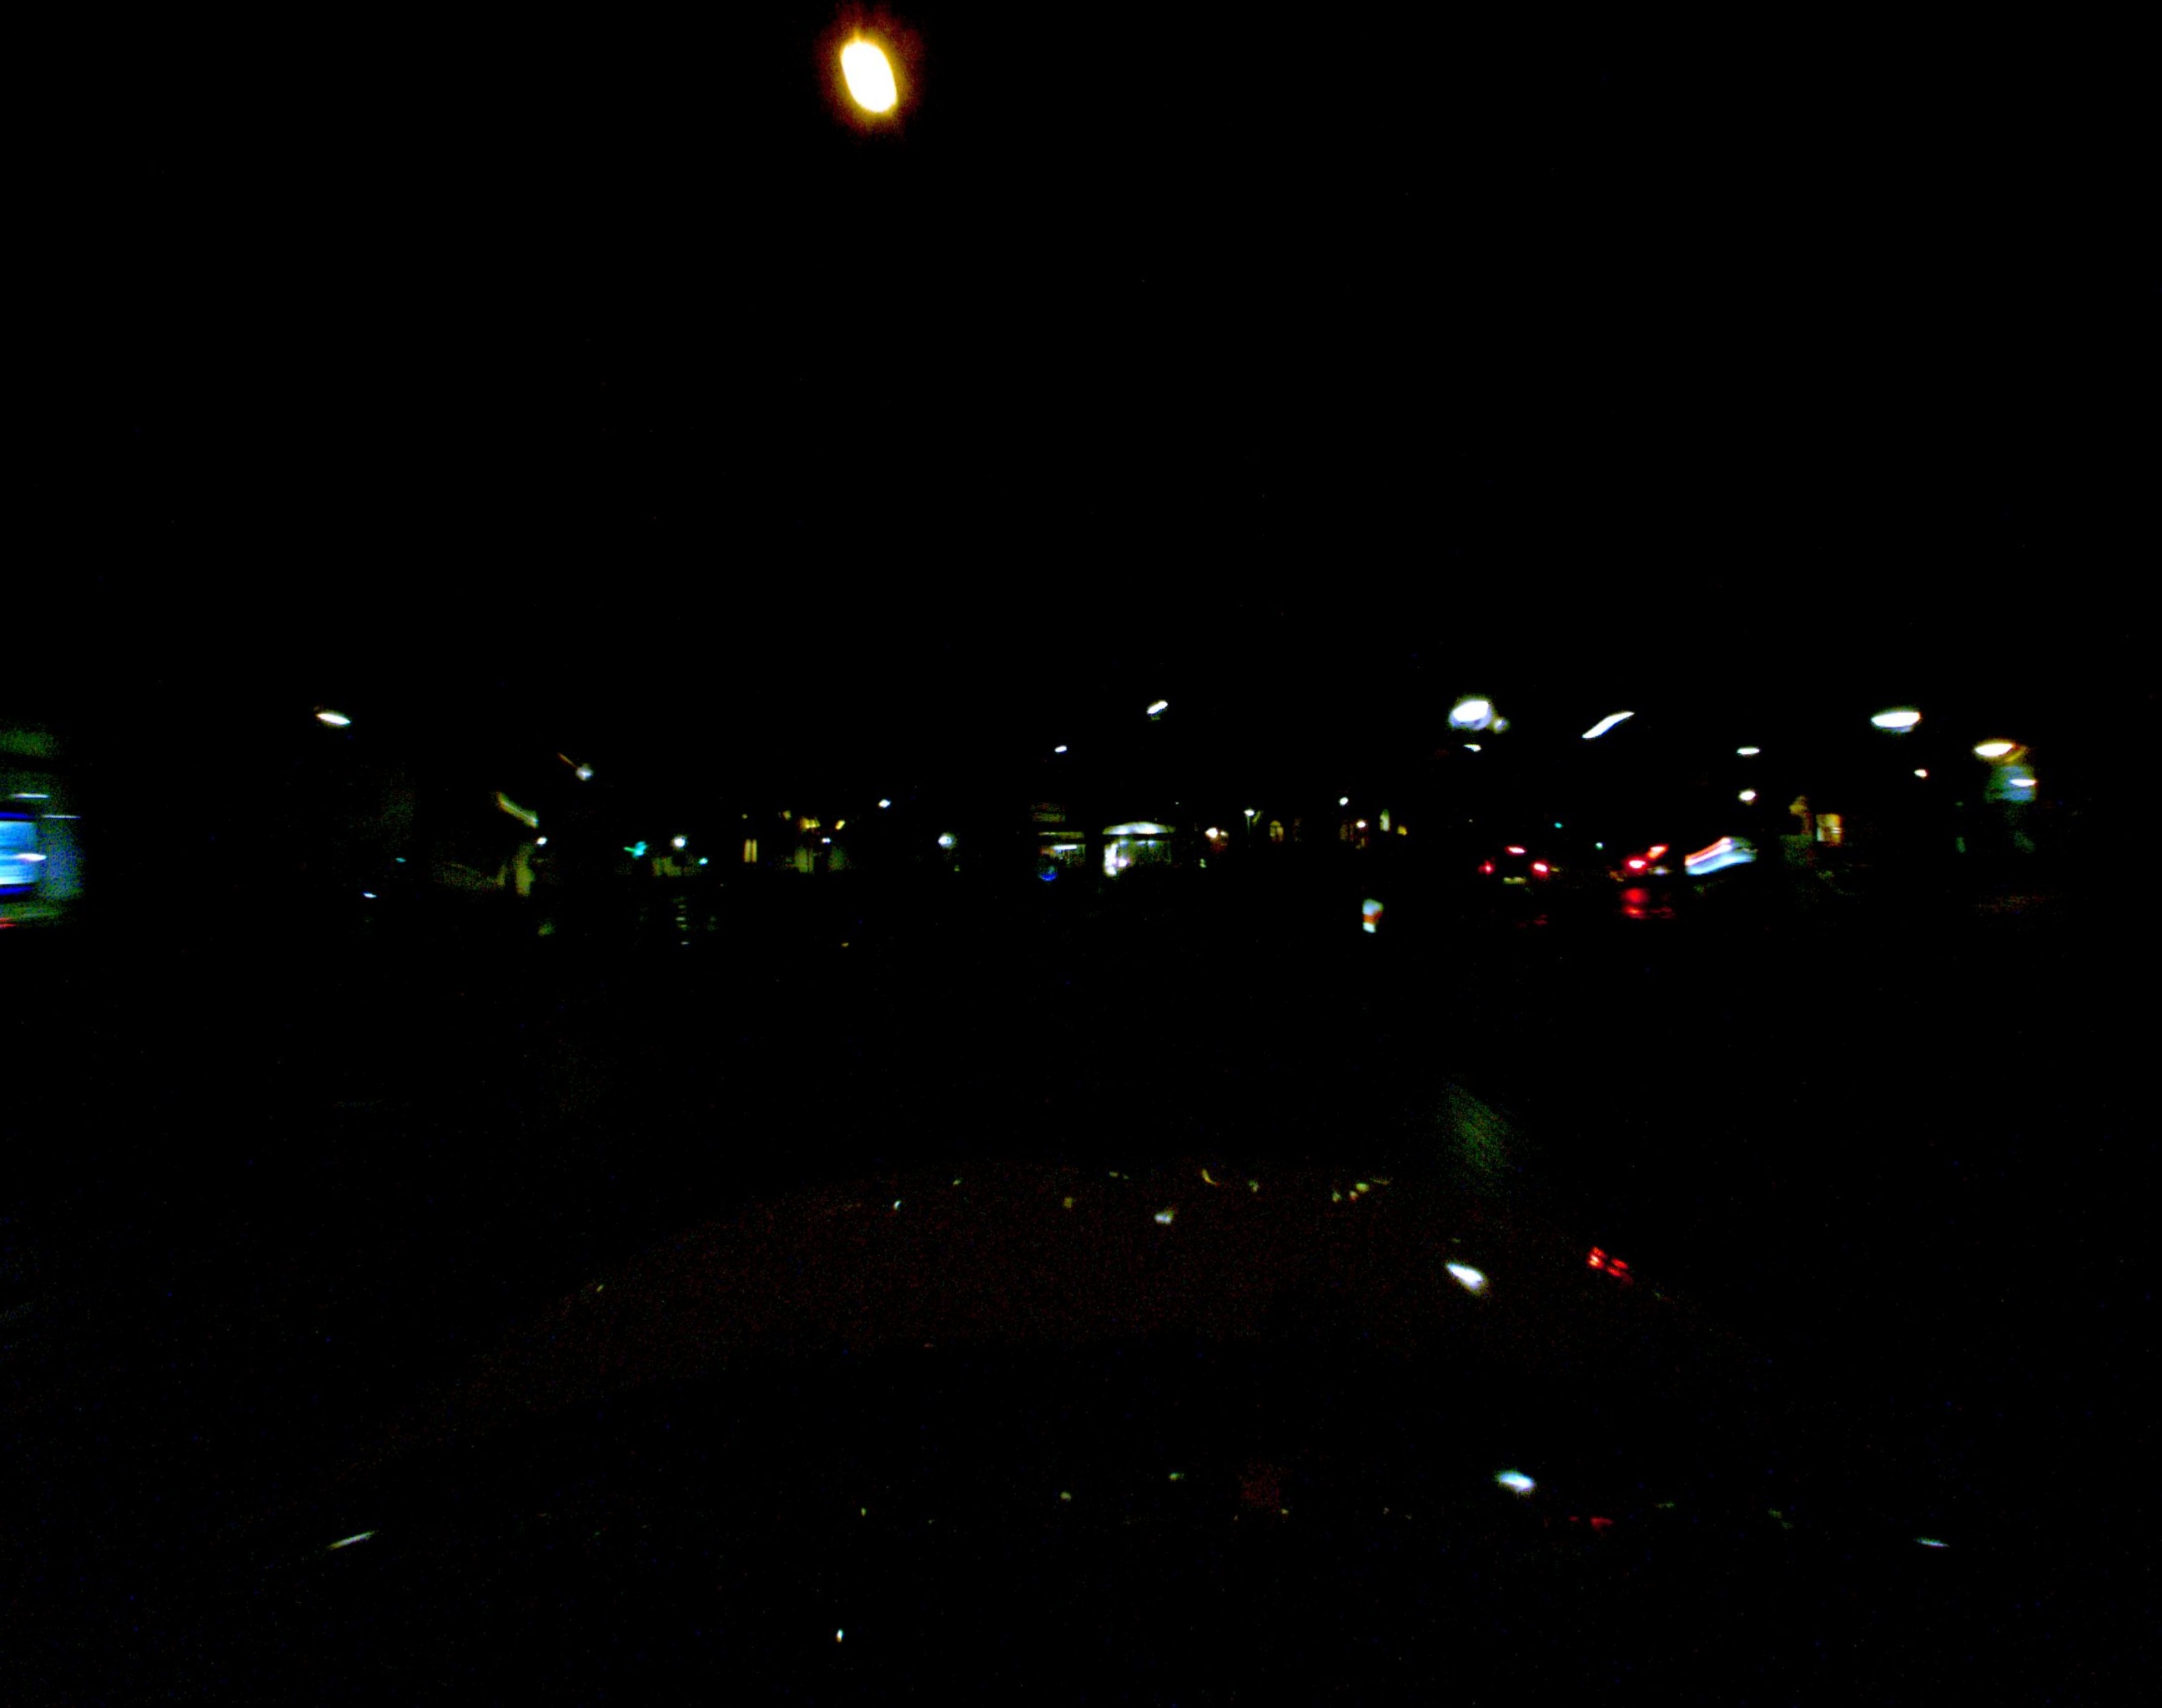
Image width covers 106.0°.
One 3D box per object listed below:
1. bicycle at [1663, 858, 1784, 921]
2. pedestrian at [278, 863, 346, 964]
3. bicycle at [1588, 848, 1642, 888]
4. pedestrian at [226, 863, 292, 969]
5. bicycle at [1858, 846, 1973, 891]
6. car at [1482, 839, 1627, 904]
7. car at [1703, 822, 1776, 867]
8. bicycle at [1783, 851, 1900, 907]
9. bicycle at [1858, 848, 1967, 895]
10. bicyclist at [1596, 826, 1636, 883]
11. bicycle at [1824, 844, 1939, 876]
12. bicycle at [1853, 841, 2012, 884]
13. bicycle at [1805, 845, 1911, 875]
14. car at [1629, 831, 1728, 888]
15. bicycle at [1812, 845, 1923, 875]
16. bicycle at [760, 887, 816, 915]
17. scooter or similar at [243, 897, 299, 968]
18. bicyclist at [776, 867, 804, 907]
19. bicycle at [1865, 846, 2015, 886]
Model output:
[{"bbox_3d":[11.686,0.628,14.865,0.452,1.059,1.647,-2,0,-32],"label":"bicycle"},{"bbox_3d":[-14.416,1.077,15.262,0.934,1.820,0.698,0,-1,33],"label":"pedestrian"},{"bbox_3d":[16.109,0.423,24.537,1.723,1.149,0.768,1,-1,-34],"label":"bicycle"},{"bbox_3d":[-14.693,1.069,14.561,0.934,1.820,0.698,0,-1,38],"label":"pedestrian"},{"bbox_3d":[20.565,0.356,20.112,0.453,1.059,1.915,-2,0,-37],"label":"bicycle"},{"bbox_3d":[12.495,0.451,21.496,3.469,1.613,1.721,1,-1,-27],"label":"car"},{"bbox_3d":[26.858,-0.350,33.346,1.974,1.728,4.025,0,-1,34],"label":"car"},{"bbox_3d":[15.348,0.498,16.480,0.452,1.059,1.647,-2,0,-32],"label":"bicycle"},{"bbox_3d":[19.621,0.407,19.264,0.452,1.059,1.718,-2,0,-32],"label":"bicycle"},{"bbox_3d":[16.110,0.024,24.538,0.710,1.675,0.791,1,-1,-34],"label":"bicyclist"},{"bbox_3d":[27.609,0.207,28.147,2.741,1.026,0.729,-2,0,25],"label":"bicycle"},{"bbox_3d":[21.829,0.220,20.970,0.728,1.026,2.745,-1,0,-36],"label":"bicycle"},{"bbox_3d":[28.871,0.228,30.323,2.740,1.026,0.730,-2,0,30],"label":"bicycle"},{"bbox_3d":[19.619,0.193,26.674,4.023,1.728,1.975,1,-1,-44],"label":"car"},{"bbox_3d":[28.235,0.221,29.300,2.740,1.026,0.730,-2,0,30],"label":"bicycle"},{"bbox_3d":[-10.143,1.613,28.216,1.785,0.931,0.496,1,-1,-22],"label":"bicycle"},{"bbox_3d":[-13.932,1.325,14.008,0.921,1.126,0.576,0,-1,39],"label":"scooter or similar"},{"bbox_3d":[-10.101,1.140,28.245,0.895,1.380,0.501,1,-1,-22],"label":"bicyclist"},{"bbox_3d":[23.459,0.335,22.313,0.728,1.026,2.745,-1,0,-36],"label":"bicycle"}]
